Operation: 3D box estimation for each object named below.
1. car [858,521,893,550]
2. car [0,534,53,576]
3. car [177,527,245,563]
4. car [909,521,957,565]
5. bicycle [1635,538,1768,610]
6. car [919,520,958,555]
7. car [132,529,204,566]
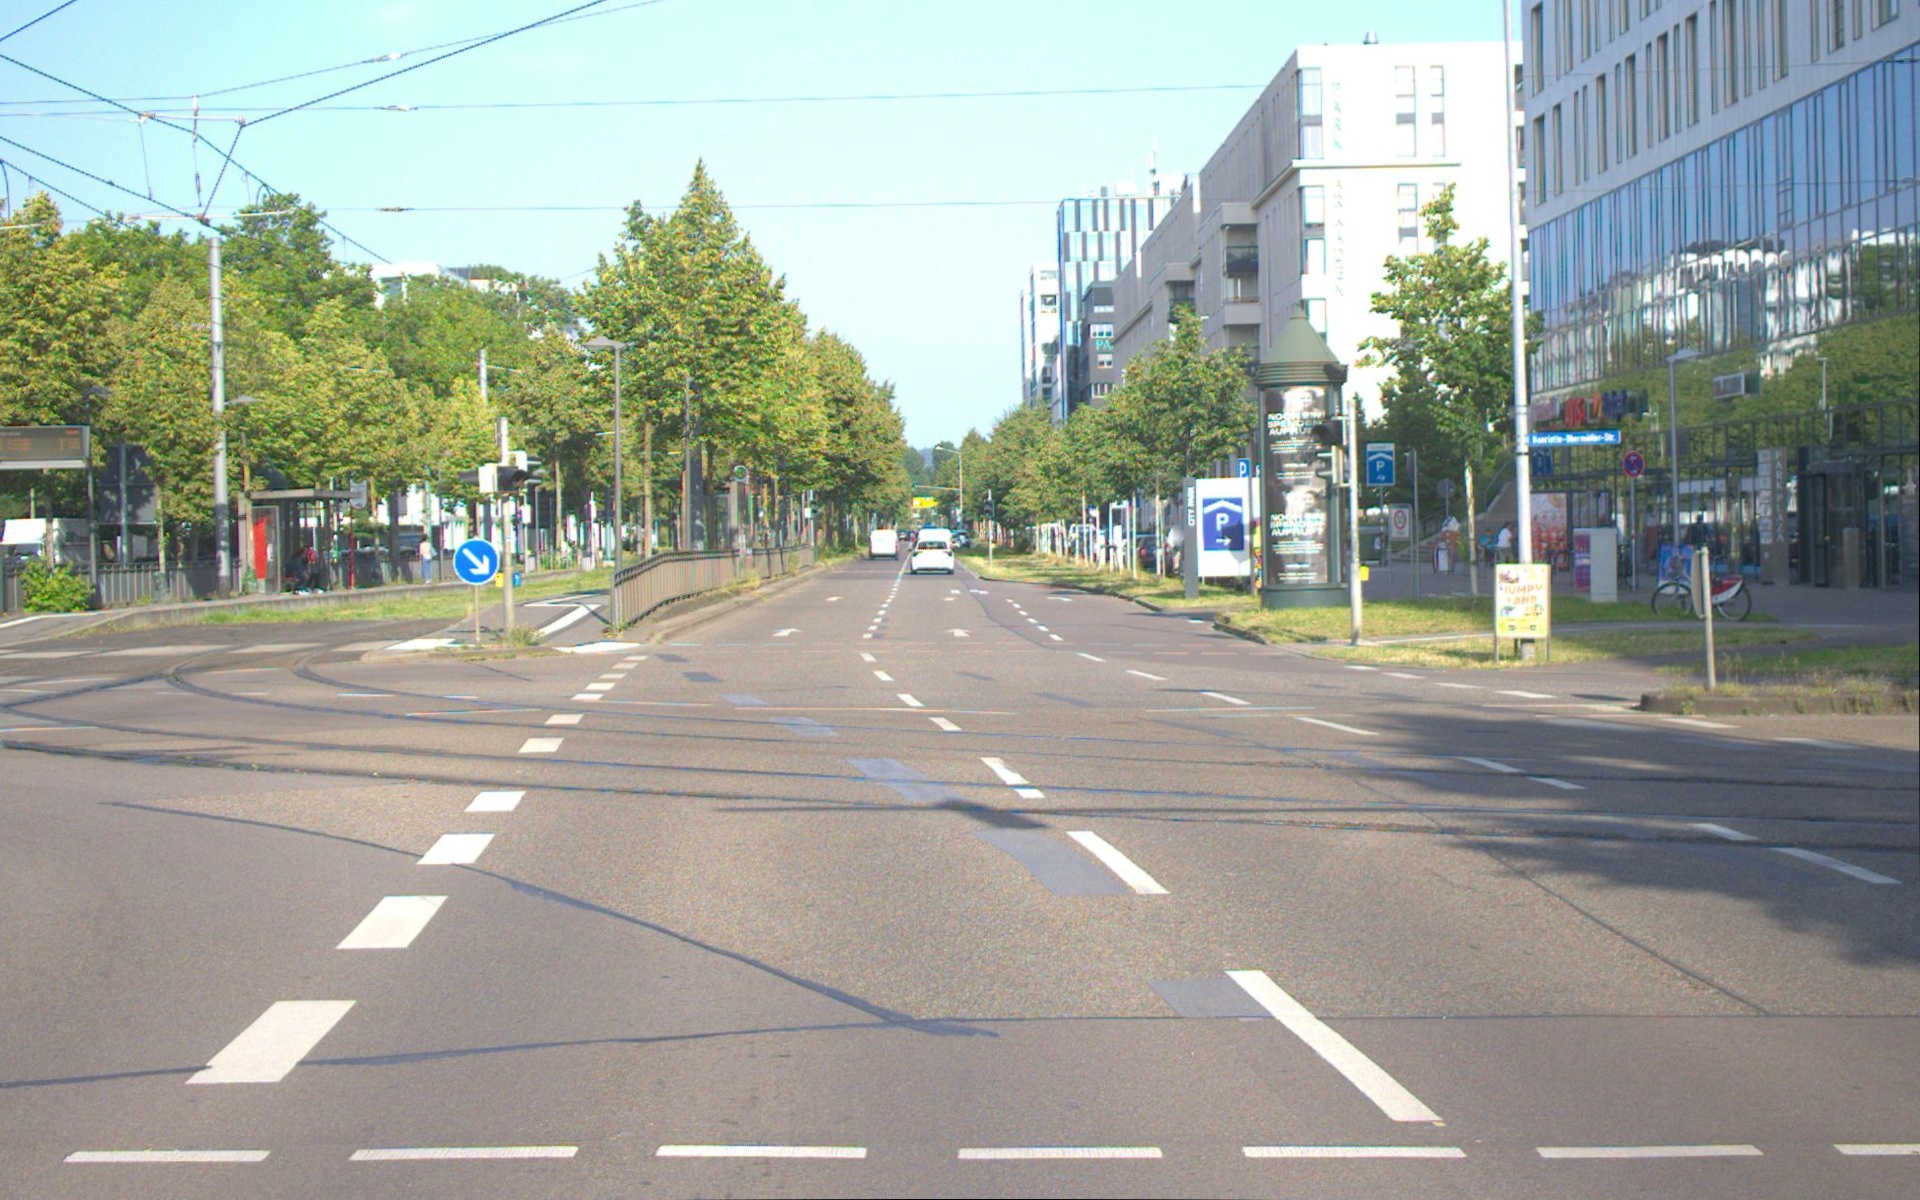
[{"bbox_3d":[-5.077,-3.898,207.368,2.014,1.678,4.000,1,2,0],"label":"car"},{"bbox_3d":[-35.699,-1.683,129.088,1.881,1.554,3.999,-1,1,5],"label":"car"},{"bbox_3d":[-33.950,-2.495,155.927,1.881,1.554,3.999,-1,1,5],"label":"car"},{"bbox_3d":[-1.084,-2.297,138.085,1.864,1.678,4.000,1,2,0],"label":"car"},{"bbox_3d":[11.416,-0.408,52.978,0.771,1.028,1.878,-2,4,-44],"label":"bicycle"},{"bbox_3d":[-1.069,-3.126,172.367,1.864,1.678,4.000,1,2,0],"label":"car"},{"bbox_3d":[-34.423,-2.308,149.505,1.881,1.554,3.999,-1,1,5],"label":"car"}]
